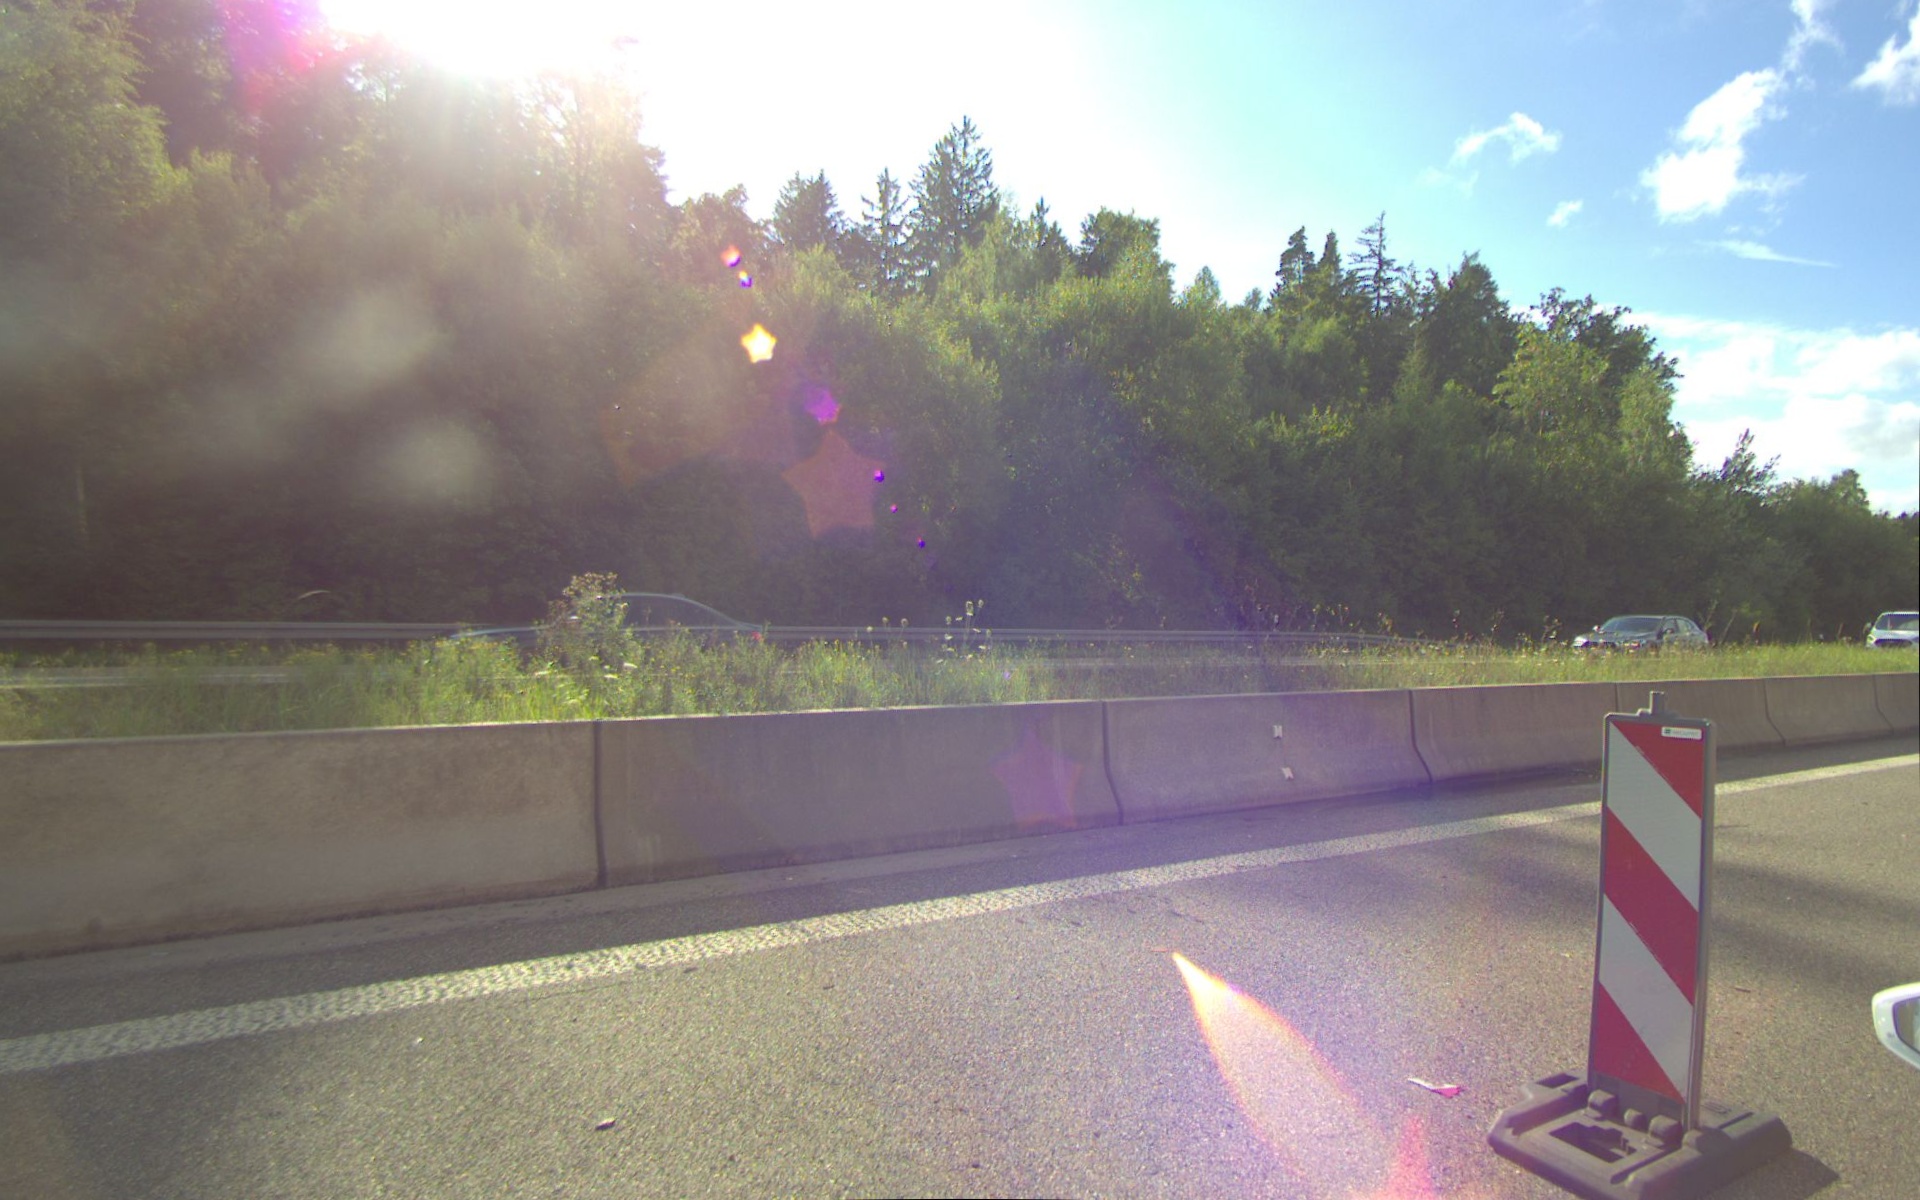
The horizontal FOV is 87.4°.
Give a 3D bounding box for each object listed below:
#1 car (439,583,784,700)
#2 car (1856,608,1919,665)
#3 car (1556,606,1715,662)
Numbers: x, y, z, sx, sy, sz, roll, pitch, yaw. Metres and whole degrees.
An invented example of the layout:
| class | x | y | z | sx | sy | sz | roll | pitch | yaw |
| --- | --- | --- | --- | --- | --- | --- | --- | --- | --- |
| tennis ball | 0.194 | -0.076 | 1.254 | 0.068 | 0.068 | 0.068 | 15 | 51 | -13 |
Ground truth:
| class | x | y | z | sx | sy | sz | roll | pitch | yaw |
| --- | --- | --- | --- | --- | --- | --- | --- | --- | --- |
| car | -4.779 | 0.548 | 13.927 | 4.260 | 1.406 | 1.771 | 2 | 0 | -30 |
| car | 36.733 | 1.397 | 38.662 | 4.775 | 2.040 | 1.984 | 2 | 0 | -30 |
| car | 18.553 | 0.934 | 27.561 | 4.237 | 1.381 | 1.949 | 2 | 0 | -30 |
